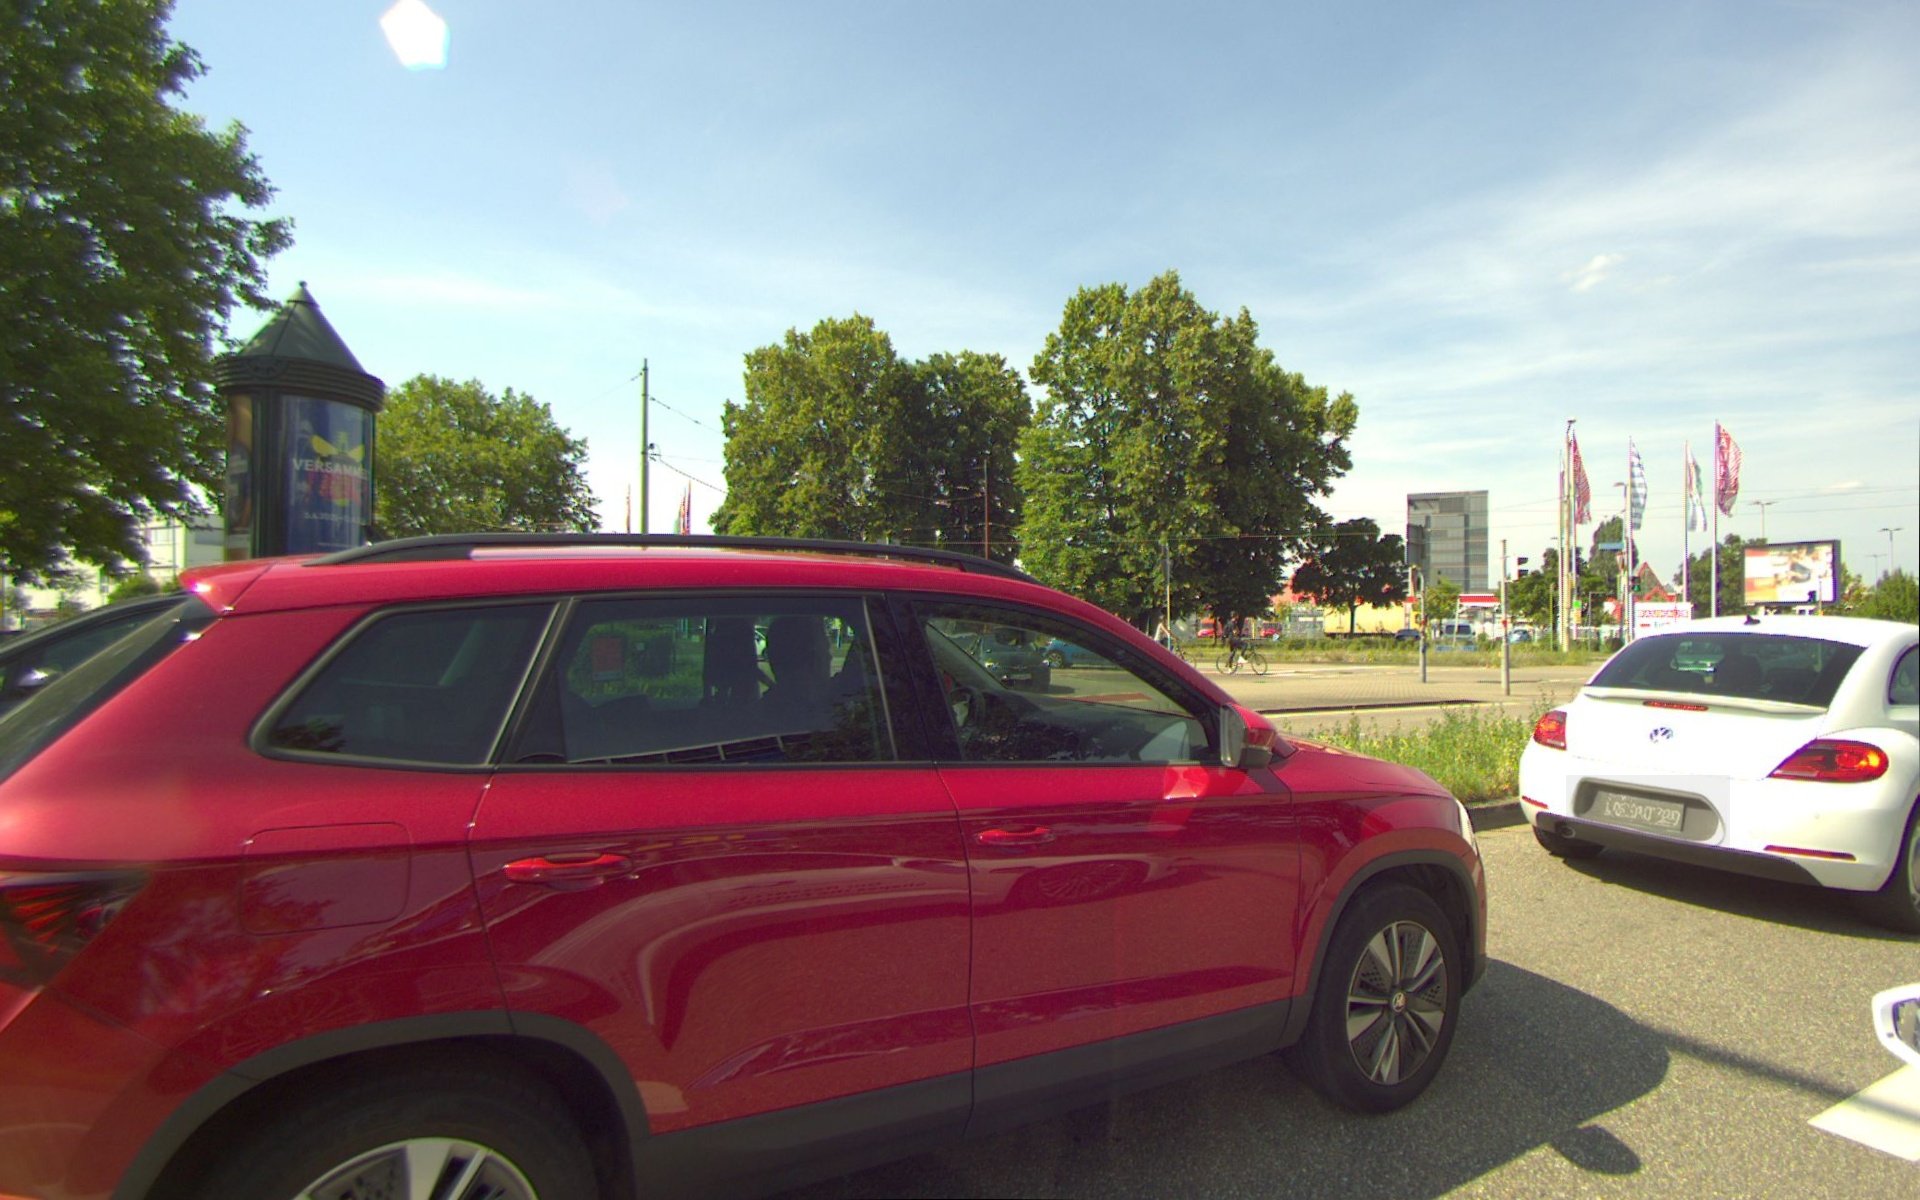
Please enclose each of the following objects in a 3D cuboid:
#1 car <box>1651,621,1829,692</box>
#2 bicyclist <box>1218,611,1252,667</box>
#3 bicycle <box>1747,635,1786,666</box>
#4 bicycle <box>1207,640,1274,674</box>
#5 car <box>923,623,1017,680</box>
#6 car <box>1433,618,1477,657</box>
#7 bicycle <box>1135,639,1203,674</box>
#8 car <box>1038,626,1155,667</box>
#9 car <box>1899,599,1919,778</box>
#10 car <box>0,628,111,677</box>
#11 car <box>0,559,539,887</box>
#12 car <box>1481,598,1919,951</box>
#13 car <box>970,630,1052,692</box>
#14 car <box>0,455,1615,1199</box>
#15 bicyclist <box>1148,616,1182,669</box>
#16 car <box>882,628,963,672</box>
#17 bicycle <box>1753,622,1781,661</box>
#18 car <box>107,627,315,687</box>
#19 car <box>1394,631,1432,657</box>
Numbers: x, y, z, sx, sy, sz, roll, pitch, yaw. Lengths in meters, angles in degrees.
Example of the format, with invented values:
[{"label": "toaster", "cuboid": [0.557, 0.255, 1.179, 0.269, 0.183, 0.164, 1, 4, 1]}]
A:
[{"label": "car", "cuboid": [17.604, 1.246, 22.655, 3.952, 1.489, 1.768, 1, -3, -30]}, {"label": "bicyclist", "cuboid": [8.732, 1.234, 31.870, 0.883, 1.738, 0.782, -1, 0, 25]}, {"label": "bicycle", "cuboid": [34.111, 2.107, 42.467, 2.225, 1.273, 0.668, 1, -2, -35]}, {"label": "bicycle", "cuboid": [8.885, 1.795, 31.799, 1.917, 0.996, 0.788, -1, 0, 25]}, {"label": "car", "cuboid": [0.222, 1.542, 30.612, 1.695, 1.624, 4.149, 1, -2, -17]}, {"label": "car", "cuboid": [34.095, 2.583, 69.299, 1.960, 2.566, 4.641, -1, -2, 16]}, {"label": "bicycle", "cuboid": [6.666, 1.799, 32.044, 1.972, 1.053, 0.744, -1, 0, 25]}, {"label": "car", "cuboid": [5.005, 1.670, 36.743, 3.921, 1.439, 2.000, 0, -1, 20]}, {"label": "car", "cuboid": [10.662, 0.845, 9.476, 3.873, 1.616, 1.621, 2, -2, -31]}, {"label": "car", "cuboid": [-32.740, 1.815, 35.093, 1.783, 1.642, 4.339, -1, -2, 24]}, {"label": "car", "cuboid": [-5.349, 0.708, 6.643, 1.843, 1.773, 4.375, -2, -3, 43]}, {"label": "car", "cuboid": [5.206, 0.768, 6.080, 4.087, 1.499, 1.757, 1, 0, -31]}, {"label": "car", "cuboid": [1.233, 1.505, 25.837, 1.731, 1.407, 3.999, -1, -1, -3]}, {"label": "car", "cuboid": [-0.100, 0.639, 3.123, 4.540, 1.614, 1.774, 1, -1, -31]}, {"label": "bicyclist", "cuboid": [6.545, 1.349, 32.104, 0.883, 1.668, 0.787, -1, 0, 25]}, {"label": "car", "cuboid": [-1.358, 1.696, 35.021, 1.818, 1.407, 3.985, 0, -1, -18]}, {"label": "bicycle", "cuboid": [34.161, 1.763, 42.520, 0.982, 1.636, 0.668, 1, -2, -35]}, {"label": "car", "cuboid": [-22.859, 1.699, 30.925, 1.961, 1.687, 4.845, -1, -2, 21]}, {"label": "car", "cuboid": [31.298, 3.020, 69.495, 1.960, 1.706, 4.001, -1, -2, 18]}]
